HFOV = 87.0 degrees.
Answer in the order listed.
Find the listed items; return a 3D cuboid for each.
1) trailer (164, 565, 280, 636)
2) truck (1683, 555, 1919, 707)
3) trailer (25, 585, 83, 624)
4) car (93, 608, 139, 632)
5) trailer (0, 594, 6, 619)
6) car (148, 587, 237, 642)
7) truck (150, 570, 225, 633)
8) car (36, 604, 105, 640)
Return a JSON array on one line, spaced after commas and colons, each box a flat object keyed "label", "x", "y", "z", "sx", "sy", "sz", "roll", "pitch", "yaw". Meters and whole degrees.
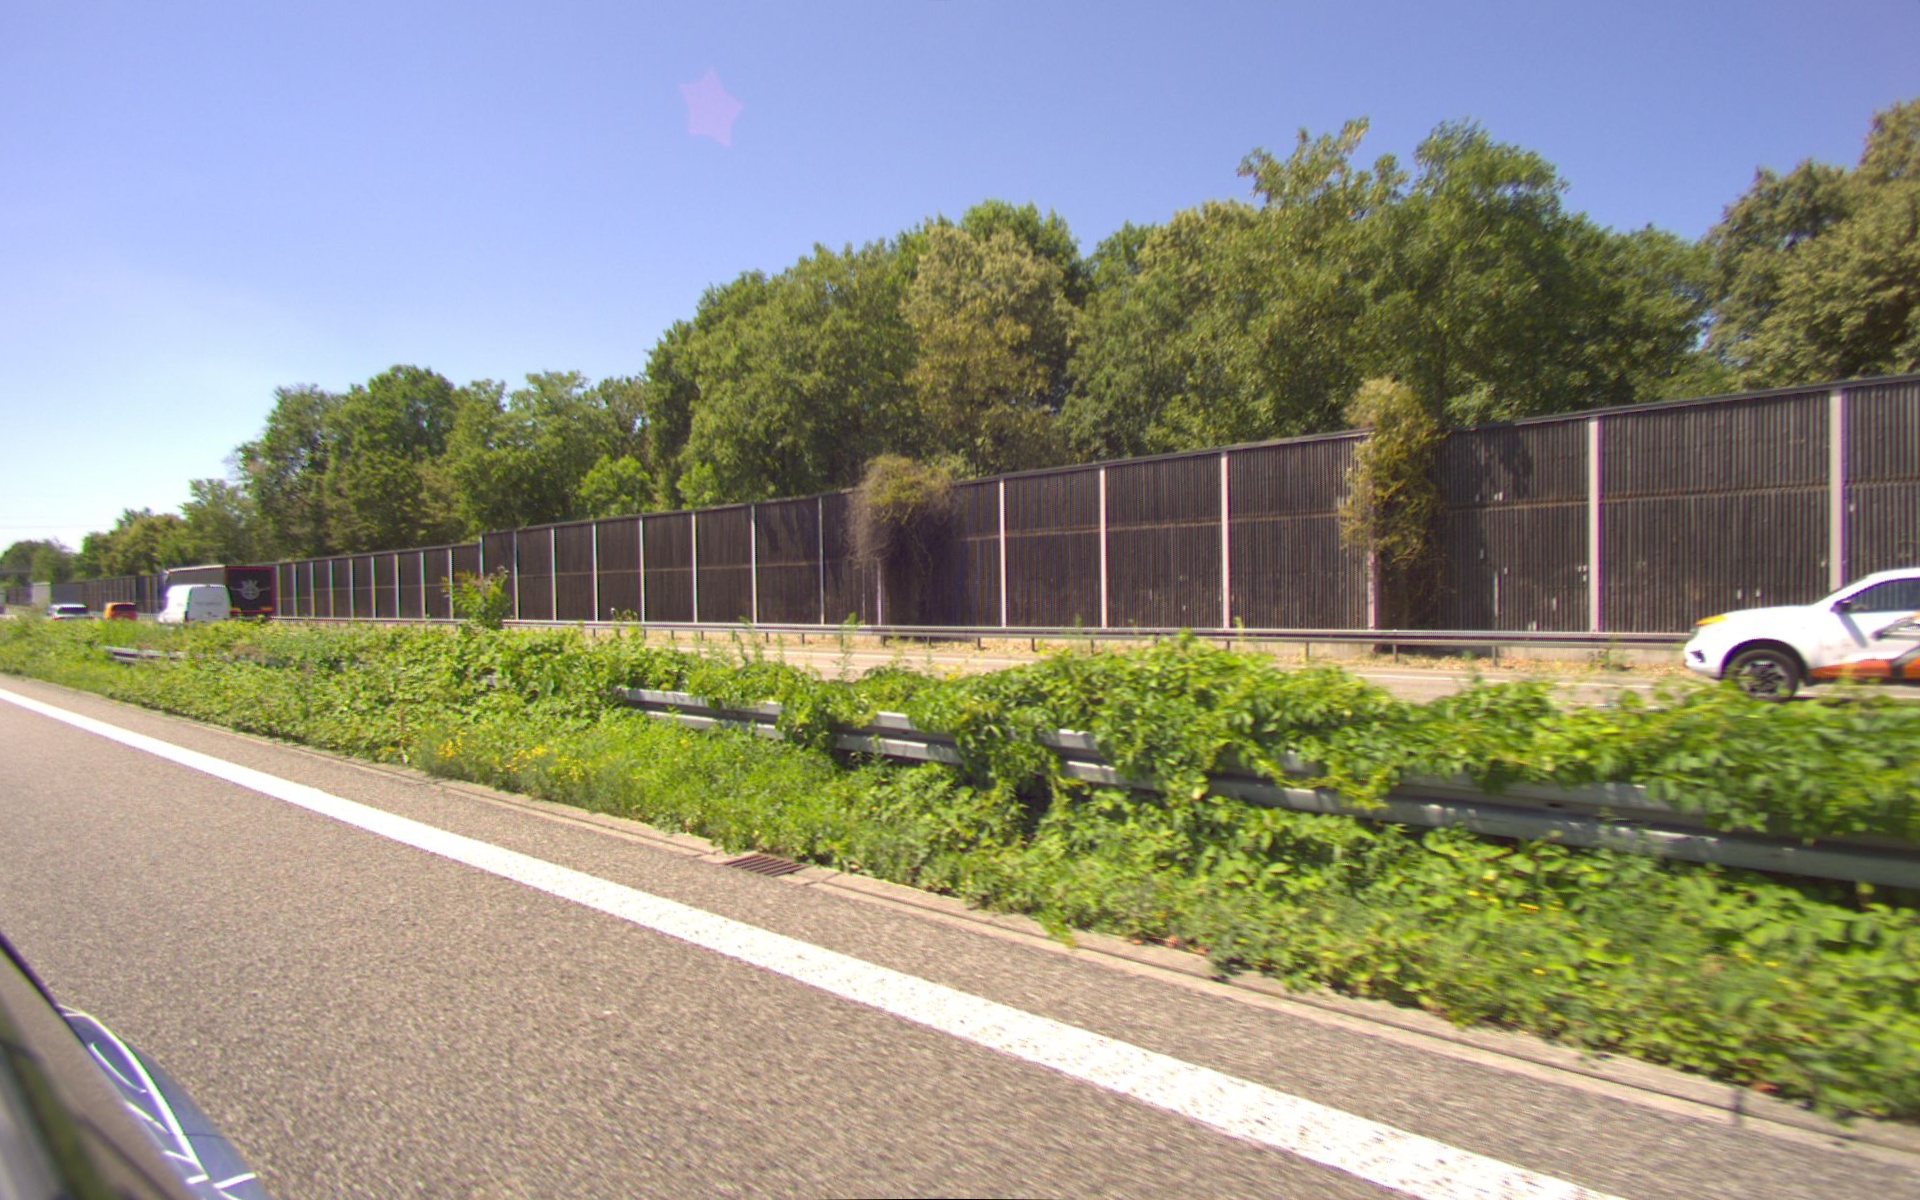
[{"label": "trailer", "x": -46.931, "y": 0.073, "z": 64.101, "sx": 13.323, "sy": 4.123, "sz": 2.869, "roll": -1, "pitch": 0, "yaw": 40}, {"label": "truck", "x": 12.826, "y": 0.363, "z": 12.488, "sx": 6.207, "sy": 1.830, "sz": 2.079, "roll": -1, "pitch": 0, "yaw": 40}, {"label": "trailer", "x": -97.271, "y": 0.519, "z": 108.575, "sx": 13.799, "sy": 4.060, "sz": 2.932, "roll": -1, "pitch": 0, "yaw": 41}, {"label": "car", "x": -71.891, "y": 1.677, "z": 86.156, "sx": 5.955, "sy": 1.895, "sz": 1.974, "roll": -1, "pitch": 0, "yaw": 40}, {"label": "trailer", "x": -158.128, "y": 1.076, "z": 164.884, "sx": 13.005, "sy": 4.060, "sz": 3.059, "roll": -1, "pitch": 0, "yaw": 43}, {"label": "car", "x": -39.123, "y": 0.738, "z": 51.510, "sx": 6.784, "sy": 2.559, "sz": 2.143, "roll": -1, "pitch": 1, "yaw": 40}, {"label": "truck", "x": -52.743, "y": 0.133, "z": 69.068, "sx": 6.114, "sy": 4.123, "sz": 2.869, "roll": -1, "pitch": 0, "yaw": 41}, {"label": "car", "x": -46.999, "y": 1.163, "z": 53.451, "sx": 5.020, "sy": 1.733, "sz": 1.975, "roll": -1, "pitch": 1, "yaw": 40}]
